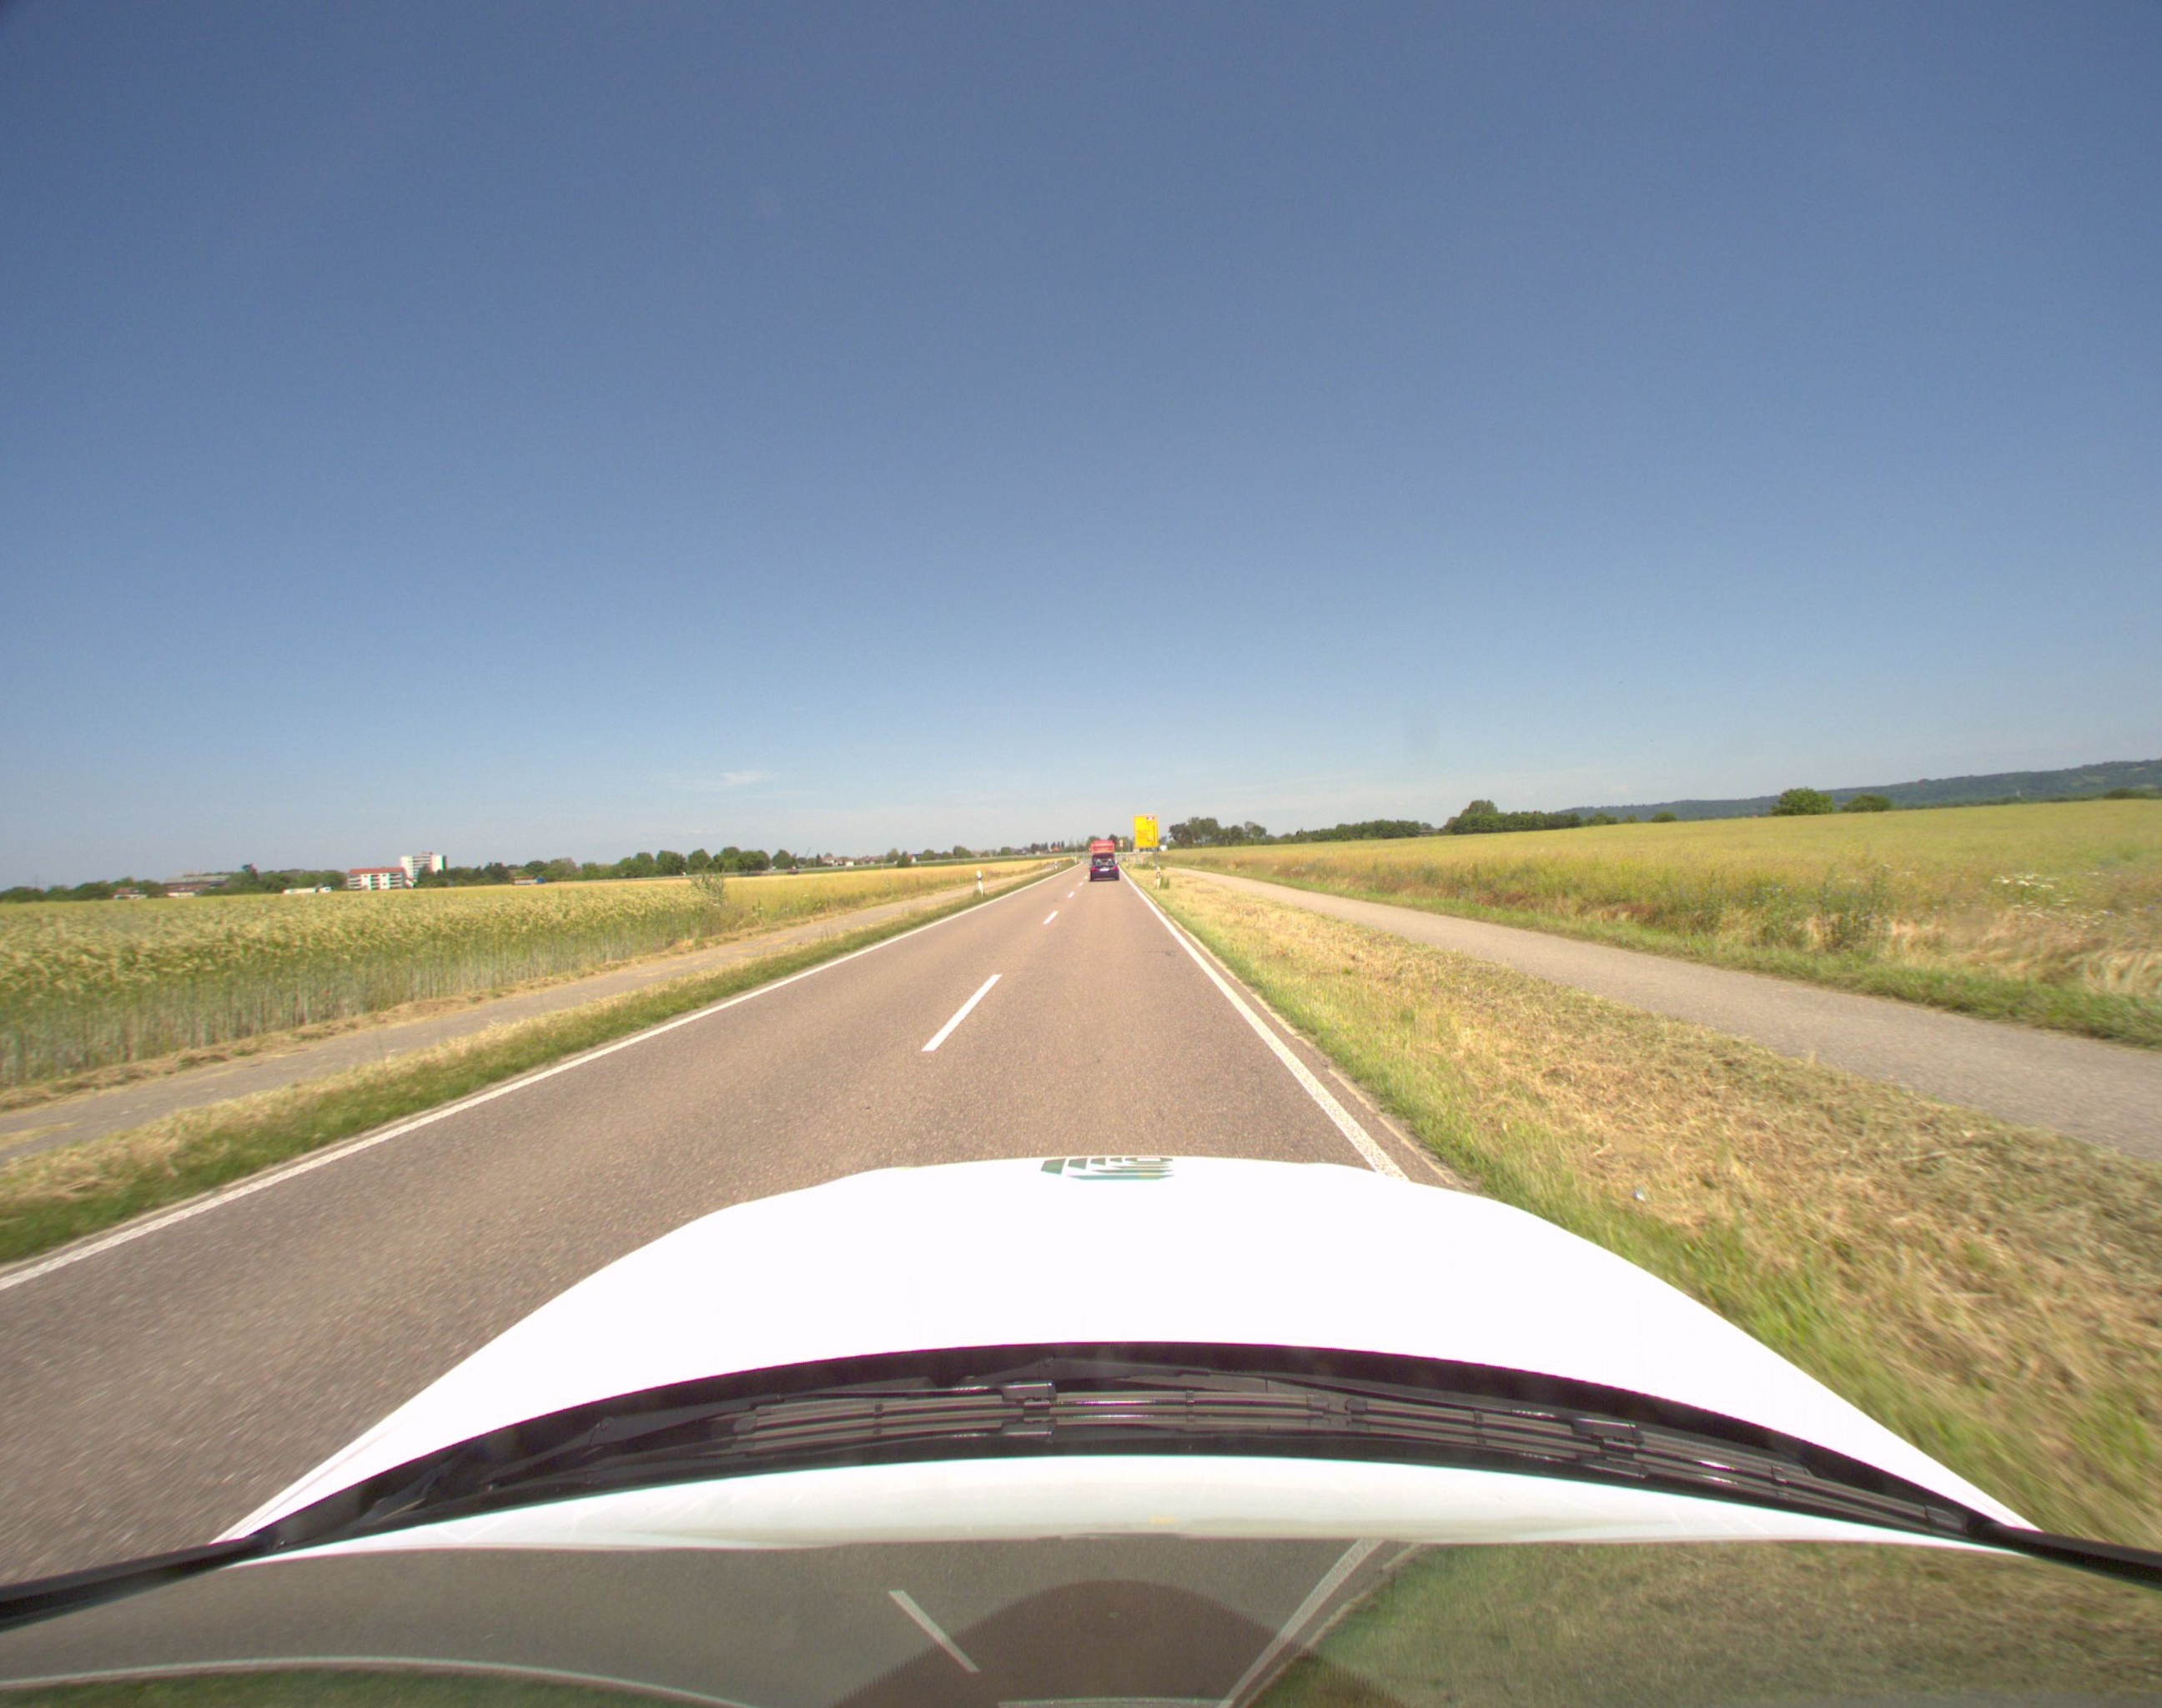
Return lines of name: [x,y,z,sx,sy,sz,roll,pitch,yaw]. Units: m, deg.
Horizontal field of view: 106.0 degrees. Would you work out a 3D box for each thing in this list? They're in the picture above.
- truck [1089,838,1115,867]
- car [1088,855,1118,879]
truck: [2.362,-0.096,90.941,2.704,3.052,8.167,-2,-1,2]
car: [1.328,0.765,49.017,1.741,1.375,3.680,-1,-1,2]
